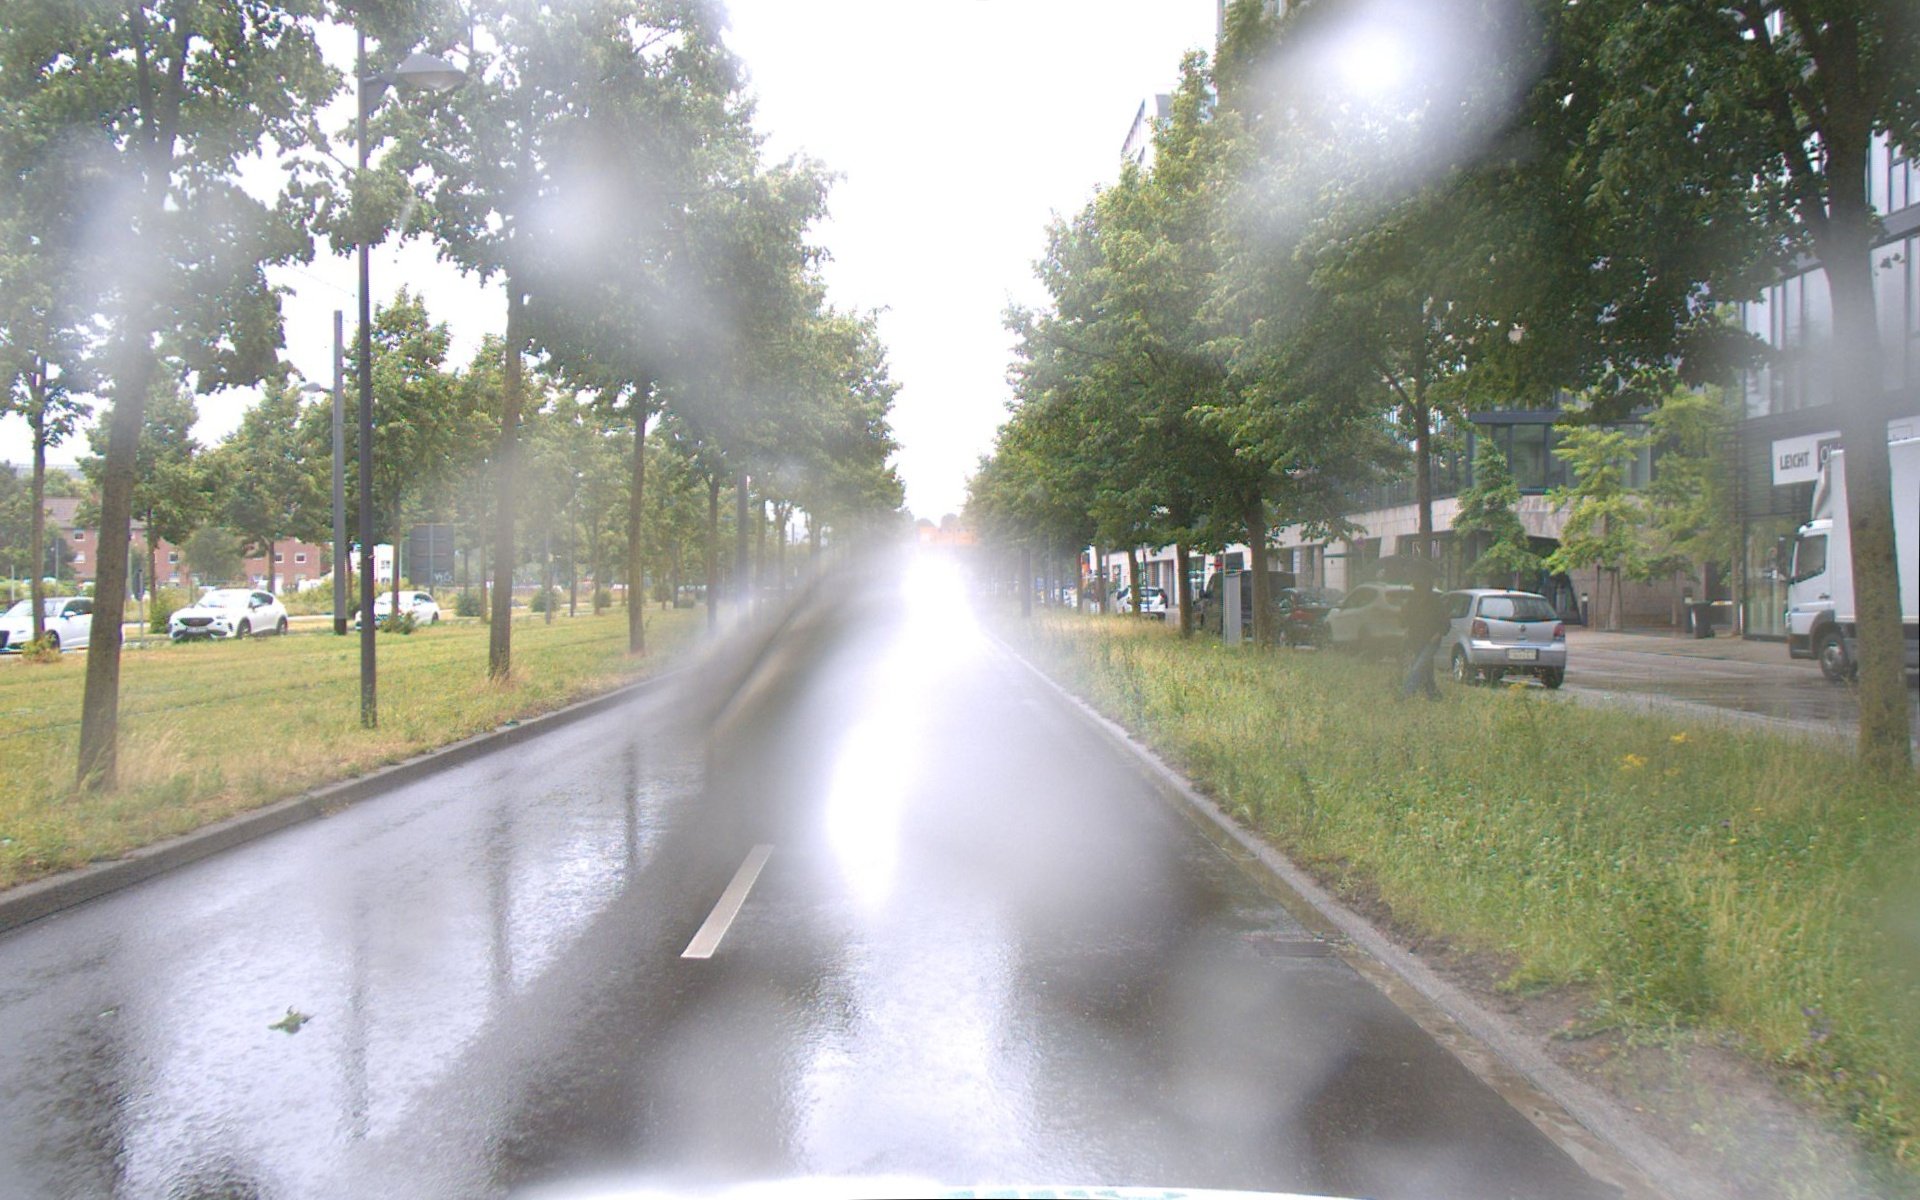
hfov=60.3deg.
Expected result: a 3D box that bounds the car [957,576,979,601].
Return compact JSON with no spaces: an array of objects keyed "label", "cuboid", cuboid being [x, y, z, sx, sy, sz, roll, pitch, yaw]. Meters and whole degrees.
[{"label":"car","cuboid":[0.672,-1.013,145.048,1.901,2.048,4.001,0,3,-1]}]

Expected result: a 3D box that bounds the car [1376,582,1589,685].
[{"label":"car","cuboid":[8.368,0.473,26.955,1.734,1.477,4.721,1,1,-3]}]

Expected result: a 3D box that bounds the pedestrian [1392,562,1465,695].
[{"label":"pedestrian","cuboid":[5.485,0.325,19.394,0.629,1.519,0.699,0,0,-3]}]

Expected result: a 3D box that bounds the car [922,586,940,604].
[{"label":"car","cuboid":[-3.494,-0.657,201.261,1.952,2.048,4.002,0,3,1]}]

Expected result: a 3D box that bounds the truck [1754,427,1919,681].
[{"label":"truck","cuboid":[14.706,-0.639,22.844,2.964,3.501,8.542,0,0,-4]}]

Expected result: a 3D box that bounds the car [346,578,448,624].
[{"label":"car","cuboid":[-20.655,0.002,60.912,1.910,1.486,4.834,0,3,3]}]

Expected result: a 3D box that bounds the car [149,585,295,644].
[{"label":"car","cuboid":[-19.639,0.347,44.239,1.911,1.477,4.575,0,0,-1]}]

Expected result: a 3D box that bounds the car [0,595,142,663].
[{"label":"car","cuboid":[-21.900,0.656,40.101,1.911,1.540,4.575,0,0,-1]}]

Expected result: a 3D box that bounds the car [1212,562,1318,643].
[{"label":"car","cuboid":[8.357,0.005,45.782,1.953,1.986,5.030,0,3,-1]}]

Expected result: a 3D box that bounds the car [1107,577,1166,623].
[{"label":"car","cuboid":[7.462,-0.031,70.295,1.953,1.698,4.724,0,3,-1]}]

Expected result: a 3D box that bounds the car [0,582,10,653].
[{"label":"car","cuboid":[-24.939,0.453,39.354,1.910,1.779,4.577,0,0,2]}]

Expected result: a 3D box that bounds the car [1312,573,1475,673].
[{"label":"car","cuboid":[8.513,0.379,32.958,1.953,1.698,4.724,0,3,-1]}]

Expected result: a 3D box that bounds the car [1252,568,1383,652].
[{"label":"car","cuboid":[8.308,0.169,38.901,1.953,1.698,4.959,0,3,-1]}]

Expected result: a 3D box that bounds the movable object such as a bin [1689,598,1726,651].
[{"label":"movable object such as a bin","cuboid":[18.881,0.614,41.765,0.596,1.298,0.647,0,2,-5]}]

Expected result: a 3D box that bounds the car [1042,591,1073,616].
[{"label":"car","cuboid":[6.861,0.236,116.382,1.843,1.532,4.724,0,3,-1]}]

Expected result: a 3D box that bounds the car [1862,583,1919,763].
[{"label":"car","cuboid":[8.925,0.613,11.729,1.954,1.469,5.233,0,0,-4]}]
